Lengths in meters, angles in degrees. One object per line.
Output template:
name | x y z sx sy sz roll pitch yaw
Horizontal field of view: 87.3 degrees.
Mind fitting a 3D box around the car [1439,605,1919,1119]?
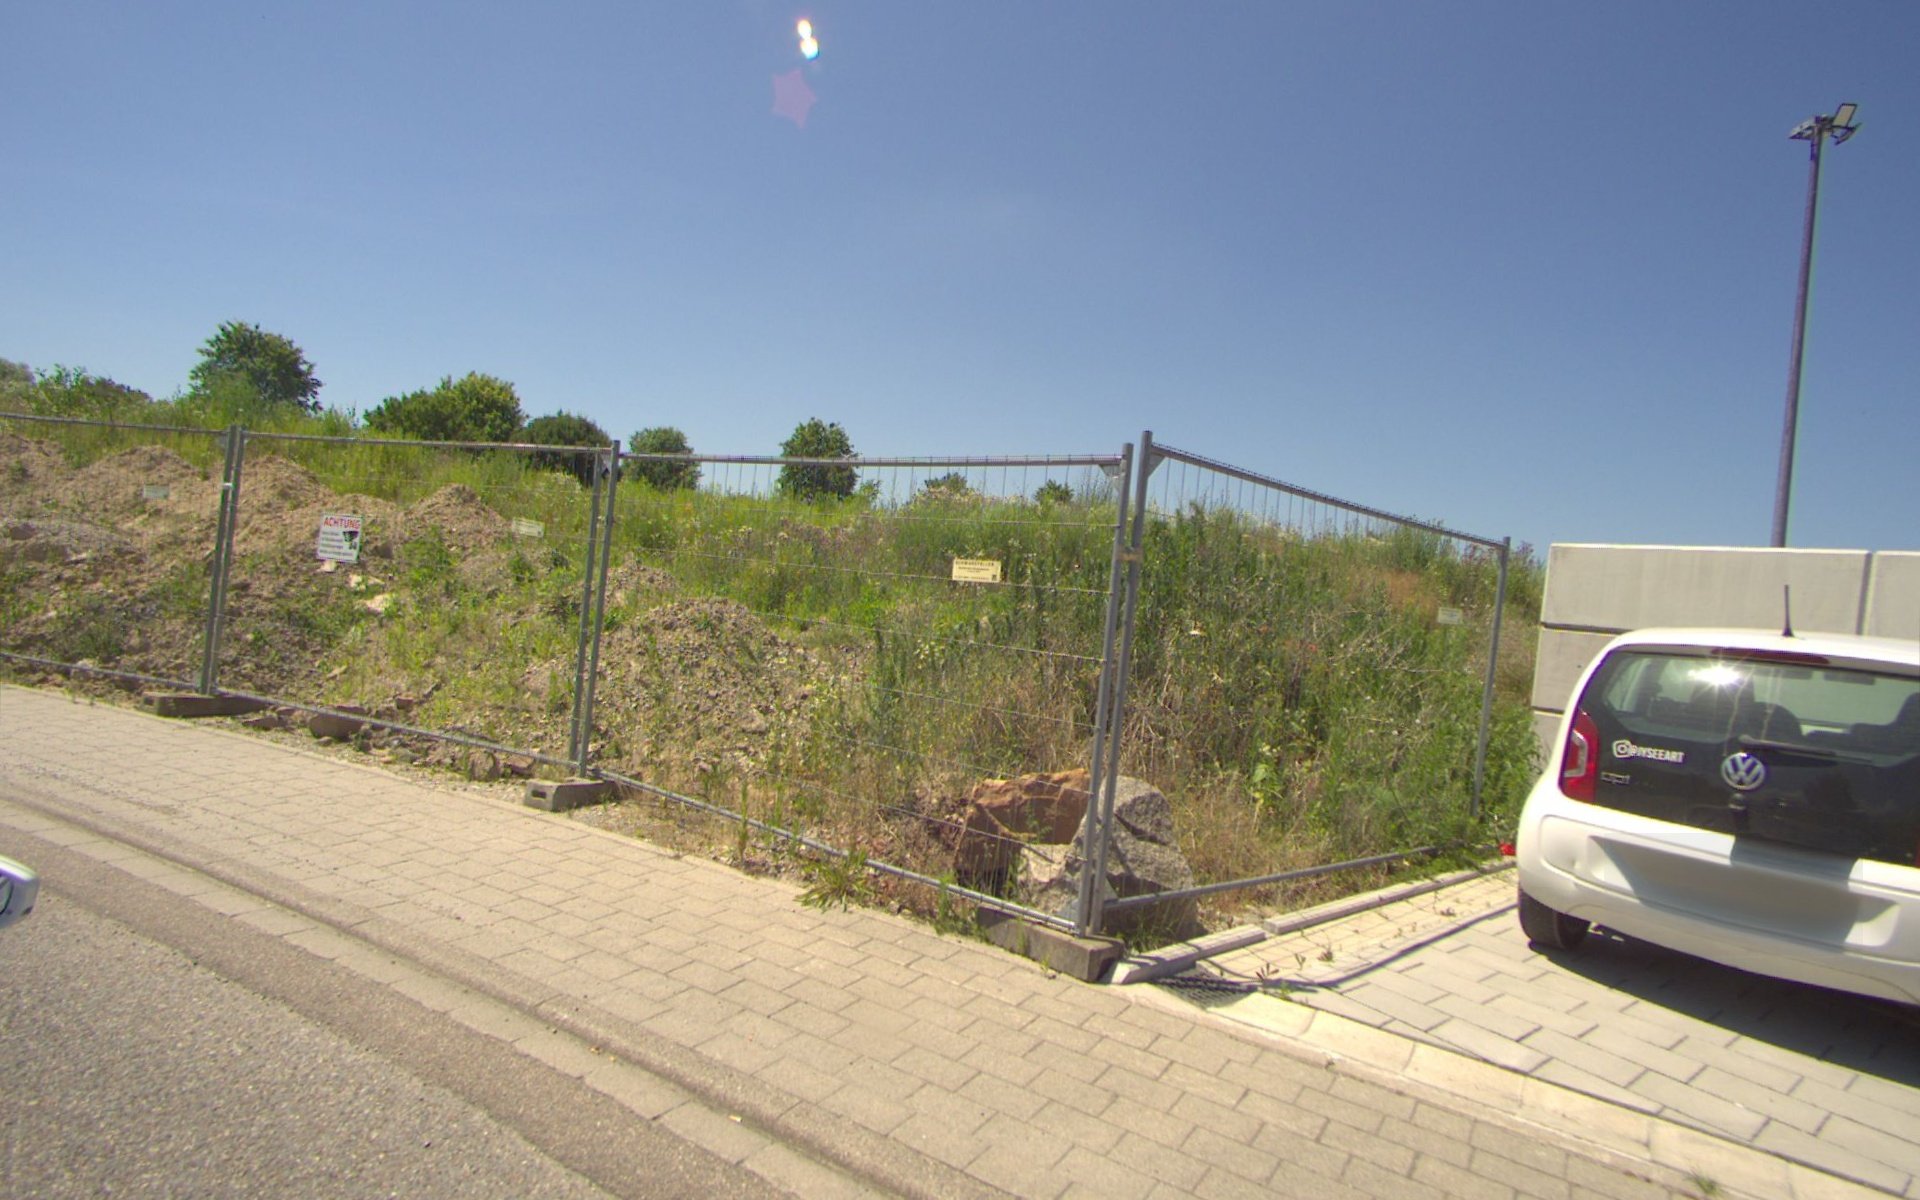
car | 4.227 0.928 4.848 3.988 1.482 1.871 3 3 -40
